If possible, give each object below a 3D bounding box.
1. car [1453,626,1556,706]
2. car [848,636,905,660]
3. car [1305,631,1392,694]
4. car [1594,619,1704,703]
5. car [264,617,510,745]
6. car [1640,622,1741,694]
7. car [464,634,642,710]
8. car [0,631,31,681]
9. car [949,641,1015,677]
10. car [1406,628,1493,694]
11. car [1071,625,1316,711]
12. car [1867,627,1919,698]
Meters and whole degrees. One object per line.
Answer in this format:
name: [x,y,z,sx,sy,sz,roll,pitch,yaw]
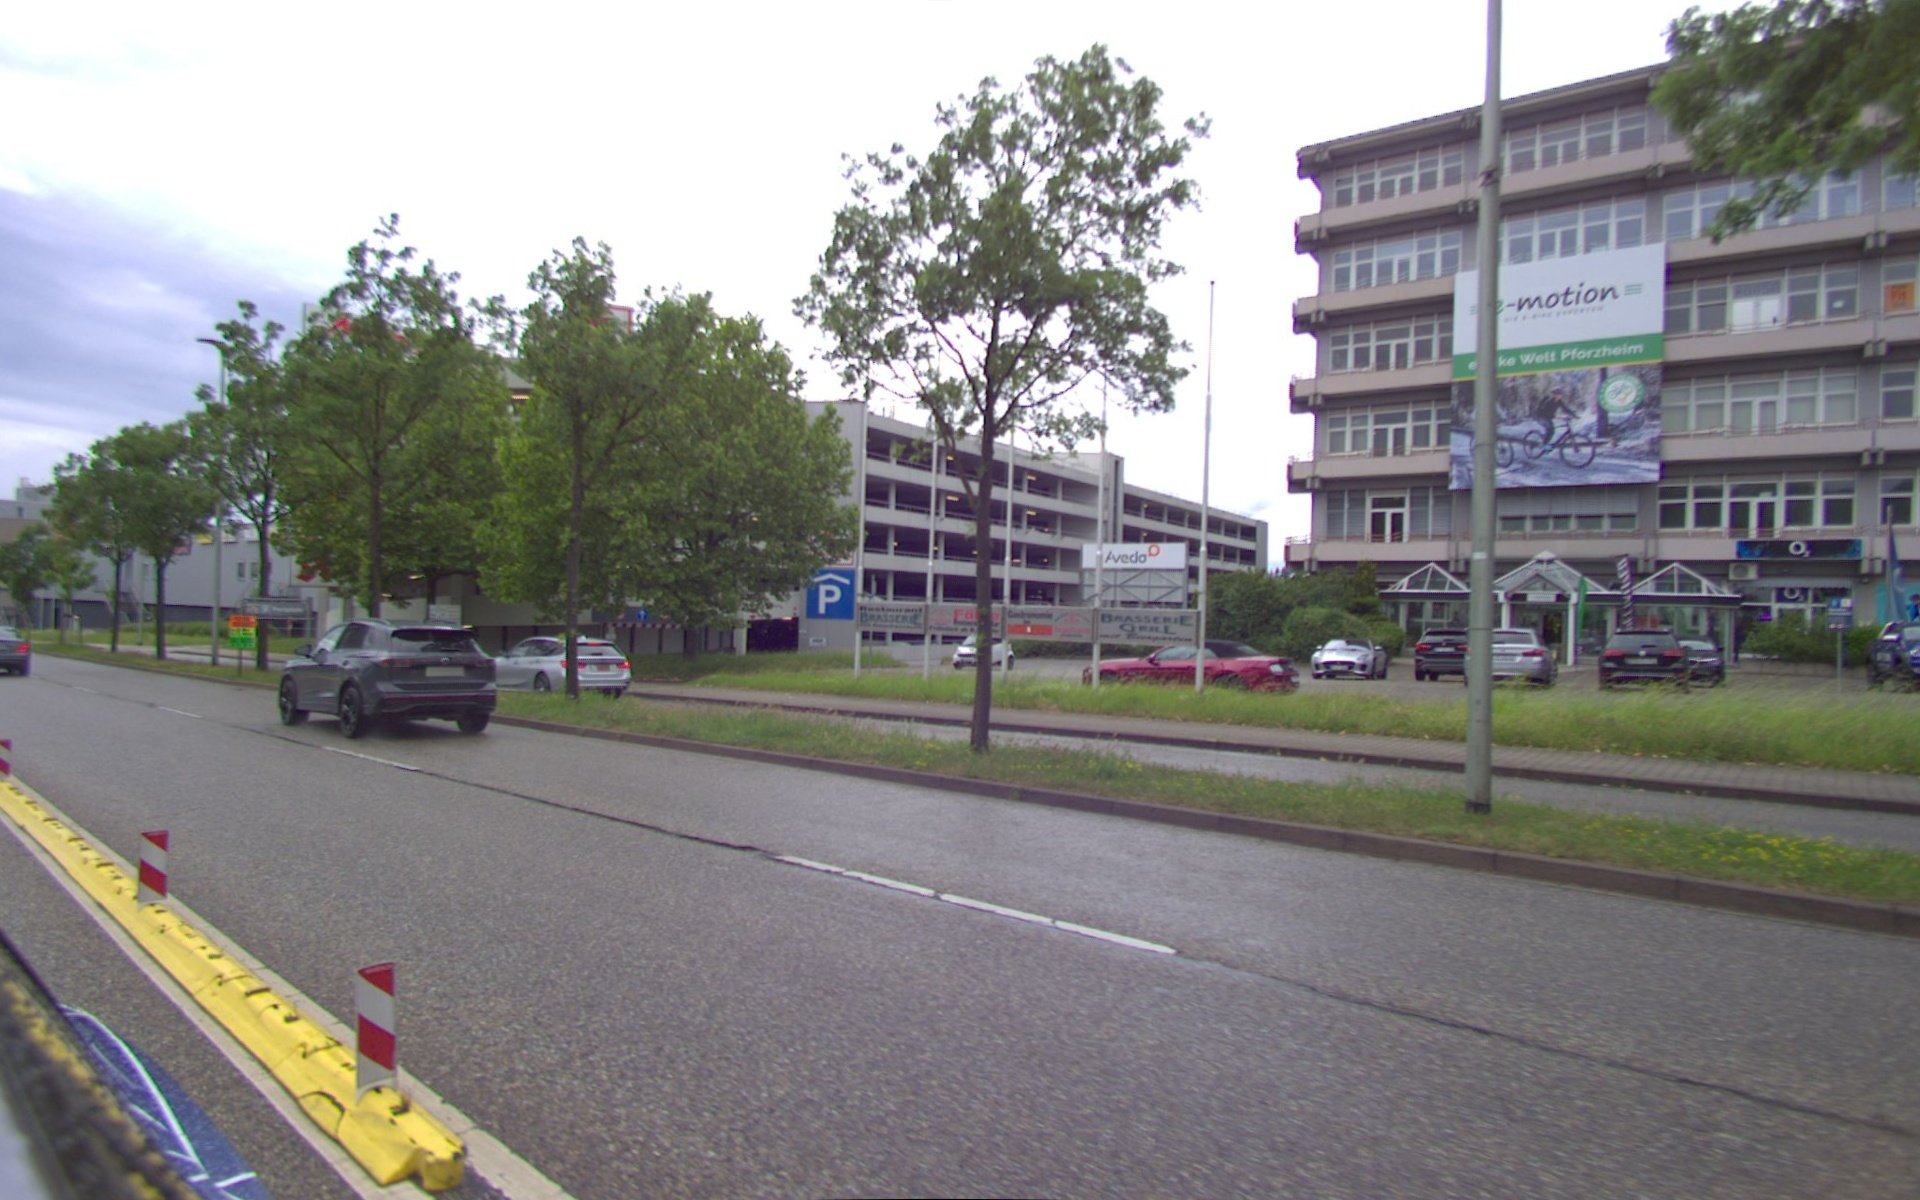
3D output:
car: [13.873,1.597,25.642,1.961,1.759,4.563,-3,-2,32]
car: [-5.578,3.190,67.805,3.787,1.473,1.754,-1,0,-4]
car: [12.601,1.961,32.645,1.958,1.759,4.568,-3,-2,29]
car: [16.229,1.375,24.024,1.894,1.759,4.464,-3,-2,32]
car: [-8.612,1.110,15.055,4.434,1.626,1.769,-1,-4,41]
car: [20.079,1.551,27.988,1.894,1.759,4.464,-3,-2,32]
car: [-9.448,1.612,23.351,4.572,1.565,1.848,-1,-4,40]
car: [-28.825,1.607,29.796,4.375,1.421,1.649,-1,-4,41]
car: [0.929,2.401,41.032,1.604,1.376,2.676,-3,-4,30]
car: [15.149,1.824,31.197,2.124,1.759,4.568,-3,-2,29]
car: [4.924,1.421,21.637,4.701,1.621,1.916,-3,-2,36]
car: [24.101,1.476,24.760,2.018,1.522,4.574,-3,-2,32]
